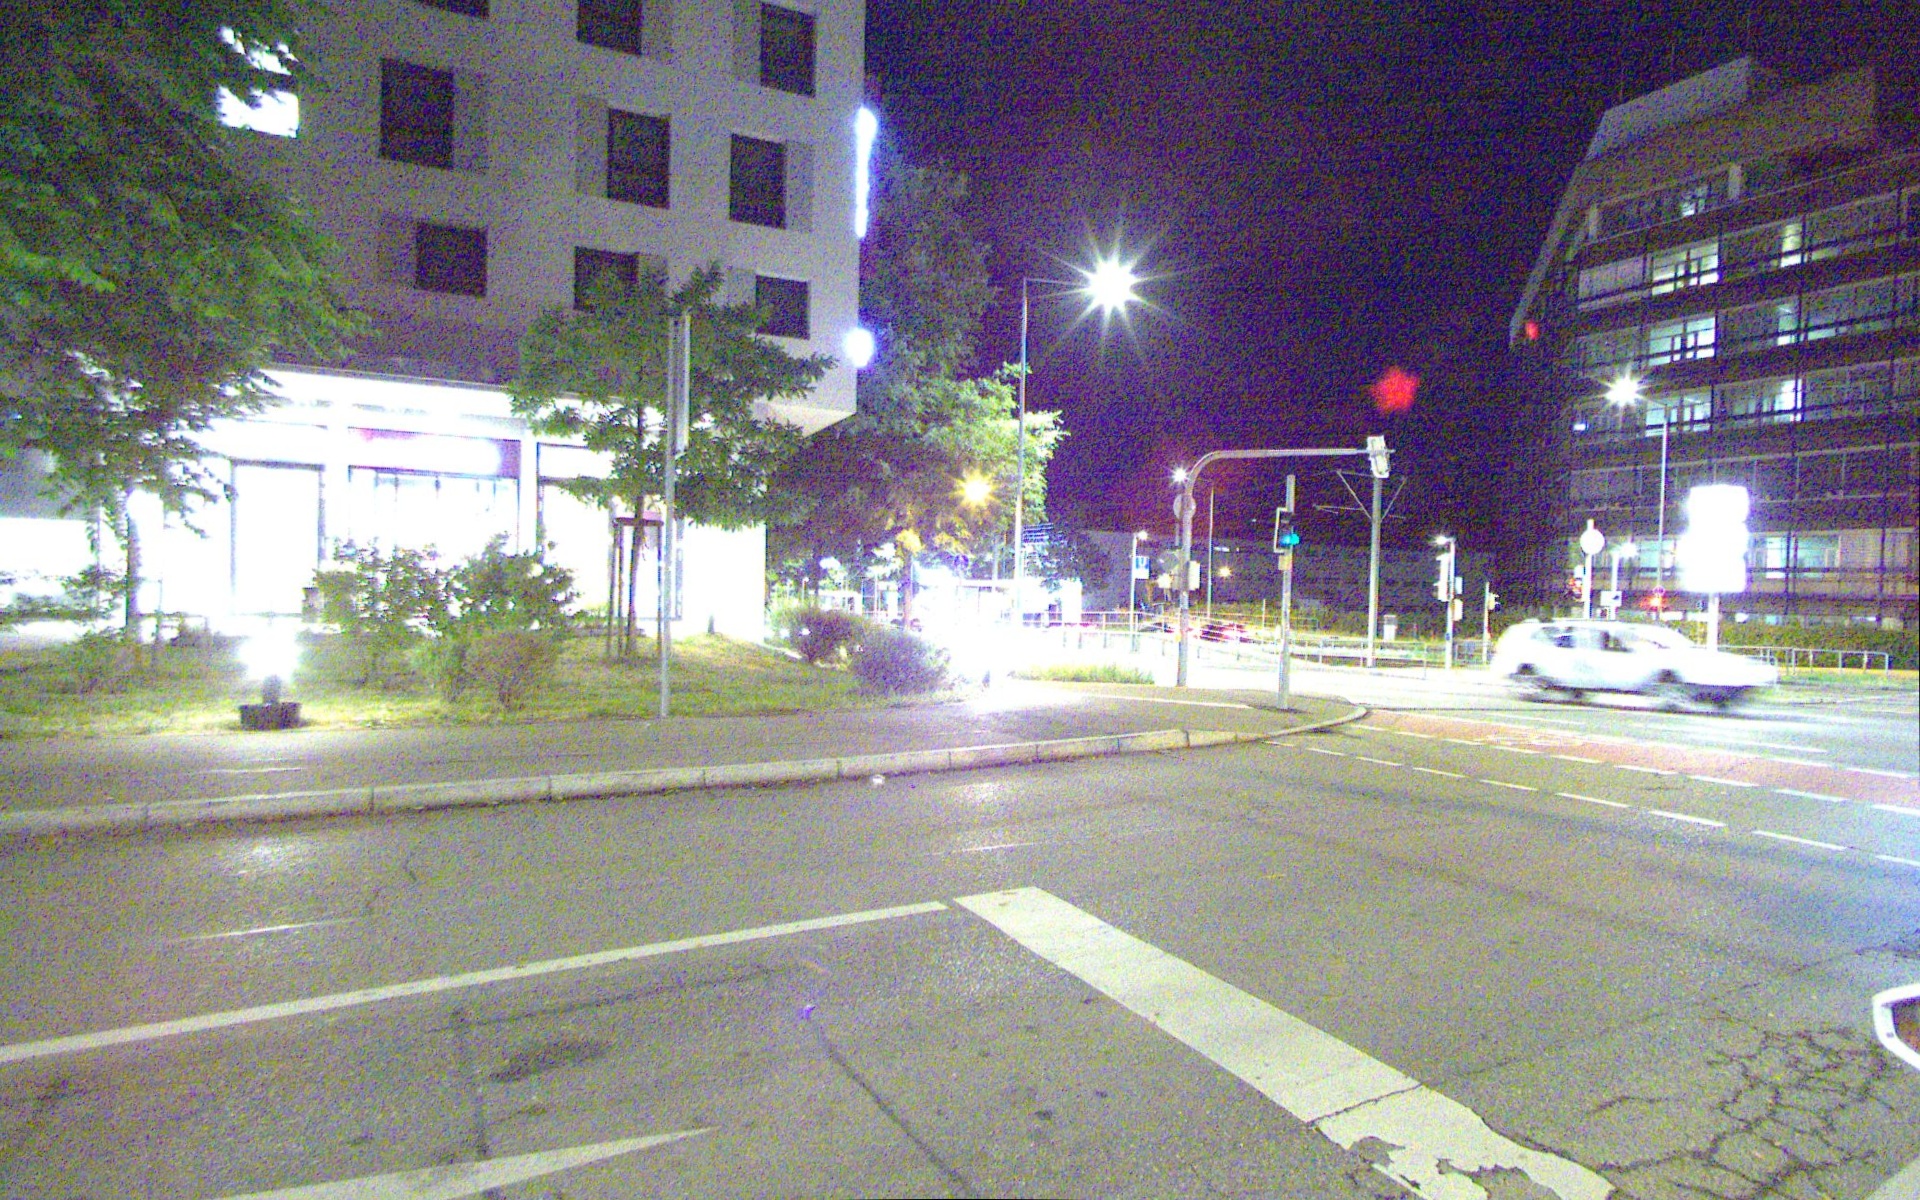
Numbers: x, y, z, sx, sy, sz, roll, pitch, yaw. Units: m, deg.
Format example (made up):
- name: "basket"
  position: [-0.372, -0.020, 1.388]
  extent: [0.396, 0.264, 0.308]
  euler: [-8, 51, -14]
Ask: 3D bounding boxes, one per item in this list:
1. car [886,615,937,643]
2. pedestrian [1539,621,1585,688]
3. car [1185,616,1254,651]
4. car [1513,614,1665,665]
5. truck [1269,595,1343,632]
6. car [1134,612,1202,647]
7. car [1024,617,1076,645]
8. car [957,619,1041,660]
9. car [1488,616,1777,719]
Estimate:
- name: "car"
  position: [-3.124, 1.820, 63.596]
  extent: [1.837, 1.681, 4.436]
  euler: [0, -1, -23]
- name: "pedestrian"
  position: [15.447, 1.380, 25.779]
  extent: [0.854, 1.656, 0.665]
  euler: [2, 1, -34]
- name: "car"
  position: [16.062, 2.043, 62.322]
  extent: [1.976, 2.040, 3.970]
  euler: [2, -1, -29]
- name: "car"
  position: [23.967, 1.477, 38.479]
  extent: [1.974, 1.751, 4.602]
  euler: [2, 0, -26]
- name: "truck"
  position: [30.809, 1.175, 89.602]
  extent: [2.877, 3.129, 5.873]
  euler: [2, 0, -28]
- name: "car"
  position: [12.833, 1.816, 62.202]
  extent: [1.974, 2.001, 4.168]
  euler: [2, 0, -26]
- name: "car"
  position: [6.718, 2.330, 75.680]
  extent: [1.820, 1.837, 4.134]
  euler: [3, 0, -29]
- name: "car"
  position: [1.645, 1.721, 43.713]
  extent: [1.786, 1.673, 4.328]
  euler: [0, -2, -27]
- name: "car"
  position: [12.639, 1.164, 19.207]
  extent: [1.850, 1.705, 4.270]
  euler: [0, -1, -25]
